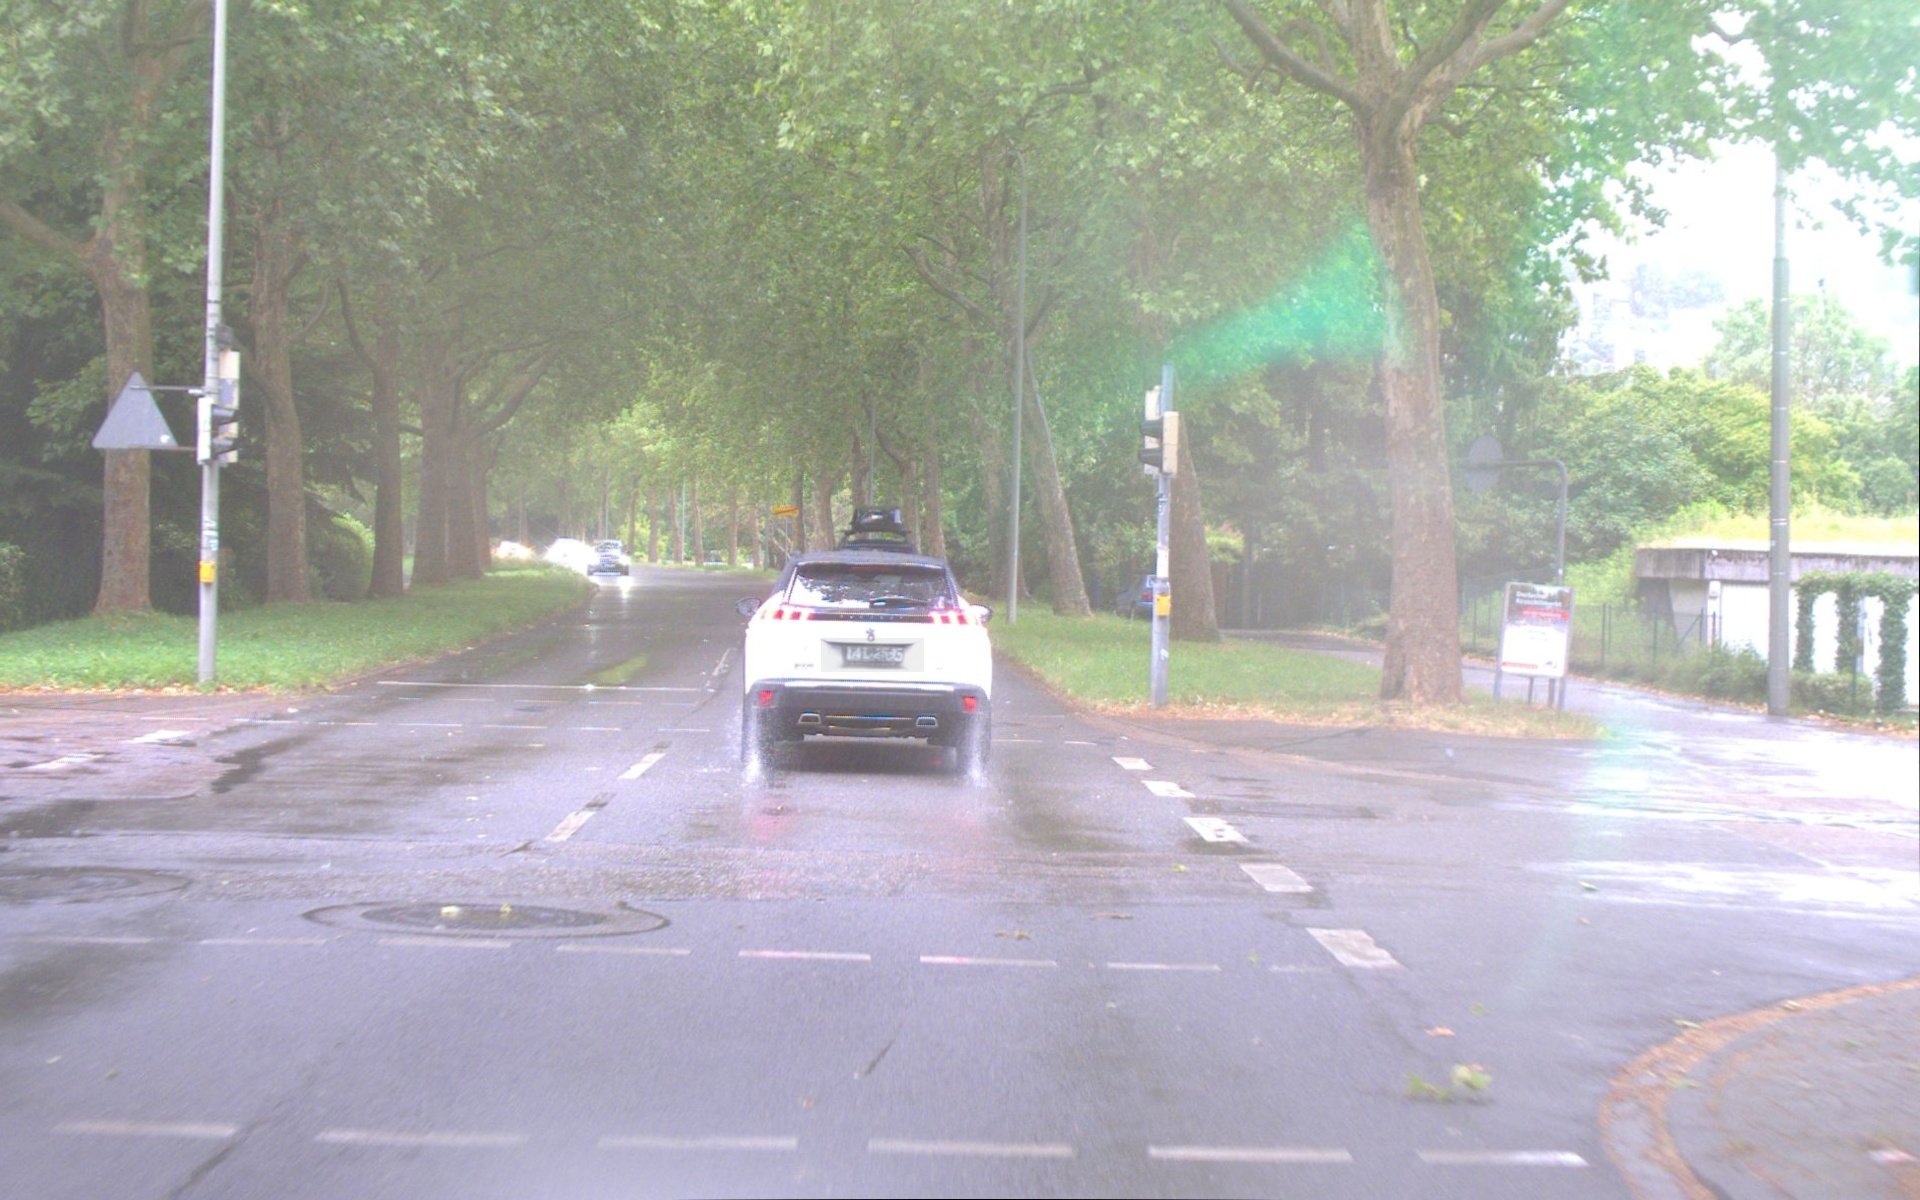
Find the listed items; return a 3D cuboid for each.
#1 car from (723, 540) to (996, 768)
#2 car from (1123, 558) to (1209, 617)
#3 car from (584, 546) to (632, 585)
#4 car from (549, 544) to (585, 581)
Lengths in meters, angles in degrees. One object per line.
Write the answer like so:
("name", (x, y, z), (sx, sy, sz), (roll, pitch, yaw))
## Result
("car", (-0.827, 0.367, 25.584), (1.780, 1.531, 4.058), (1, 0, -5))
("car", (5.525, -0.351, 92.689), (1.905, 1.505, 3.932), (2, 1, -2))
("car", (-15.863, -1.549, 154.923), (1.873, 1.671, 3.708), (2, 1, -2))
("car", (-22.286, -2.142, 195.143), (1.741, 2.007, 3.665), (2, 1, -3))
